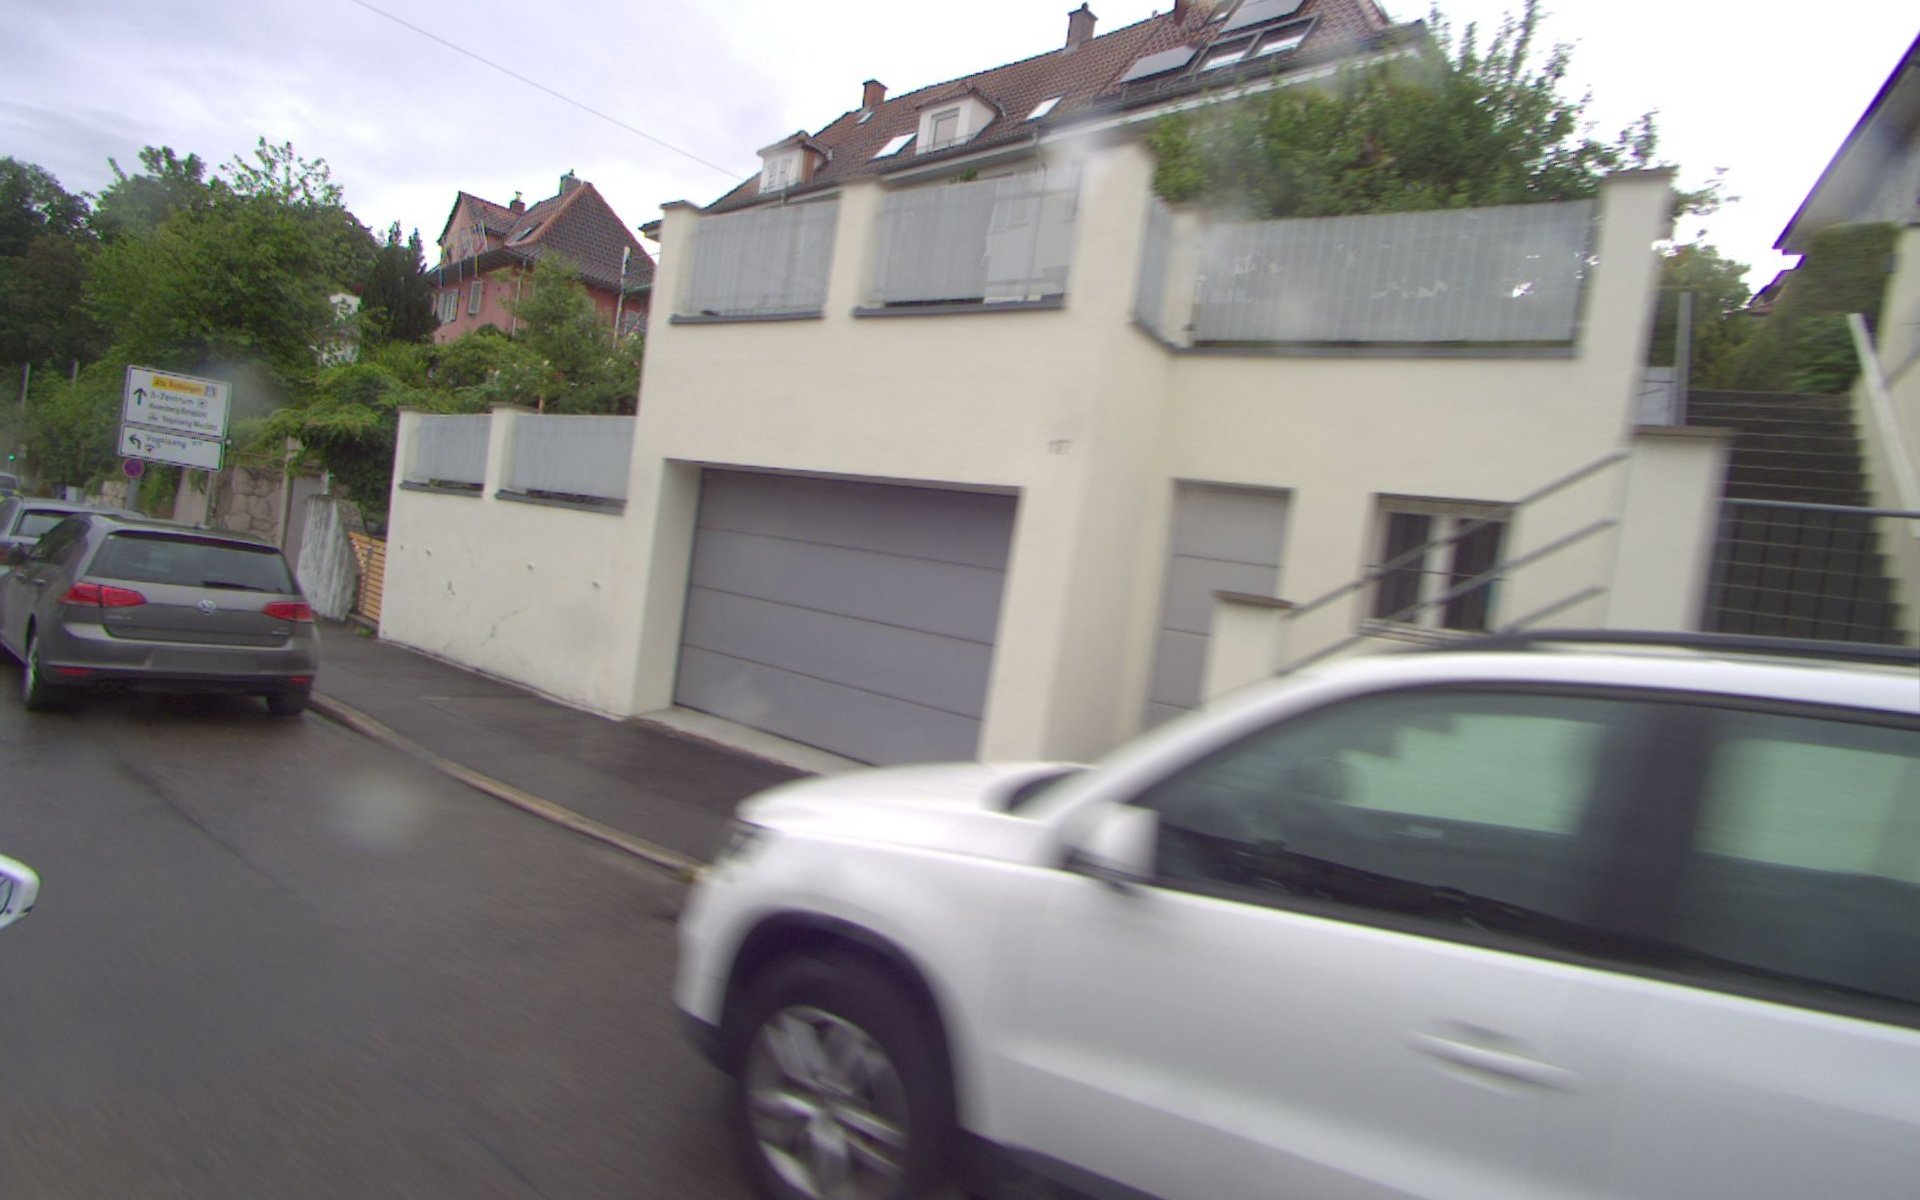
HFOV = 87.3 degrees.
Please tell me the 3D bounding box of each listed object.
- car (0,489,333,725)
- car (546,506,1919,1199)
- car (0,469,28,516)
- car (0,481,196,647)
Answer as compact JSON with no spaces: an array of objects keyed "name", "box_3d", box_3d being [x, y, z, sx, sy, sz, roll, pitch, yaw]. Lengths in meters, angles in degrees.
[{"name":"car","box_3d":[-7.022,-0.033,8.596,4.115,1.454,1.639,8,0,42]},{"name":"car","box_3d":[1.160,0.853,2.405,4.141,1.669,1.805,7,0,33]},{"name":"car","box_3d":[-44.048,-4.992,45.641,4.269,1.963,2.302,6,0,45]},{"name":"car","box_3d":[-10.621,-0.518,11.845,4.643,1.514,1.786,7,-1,44]}]
